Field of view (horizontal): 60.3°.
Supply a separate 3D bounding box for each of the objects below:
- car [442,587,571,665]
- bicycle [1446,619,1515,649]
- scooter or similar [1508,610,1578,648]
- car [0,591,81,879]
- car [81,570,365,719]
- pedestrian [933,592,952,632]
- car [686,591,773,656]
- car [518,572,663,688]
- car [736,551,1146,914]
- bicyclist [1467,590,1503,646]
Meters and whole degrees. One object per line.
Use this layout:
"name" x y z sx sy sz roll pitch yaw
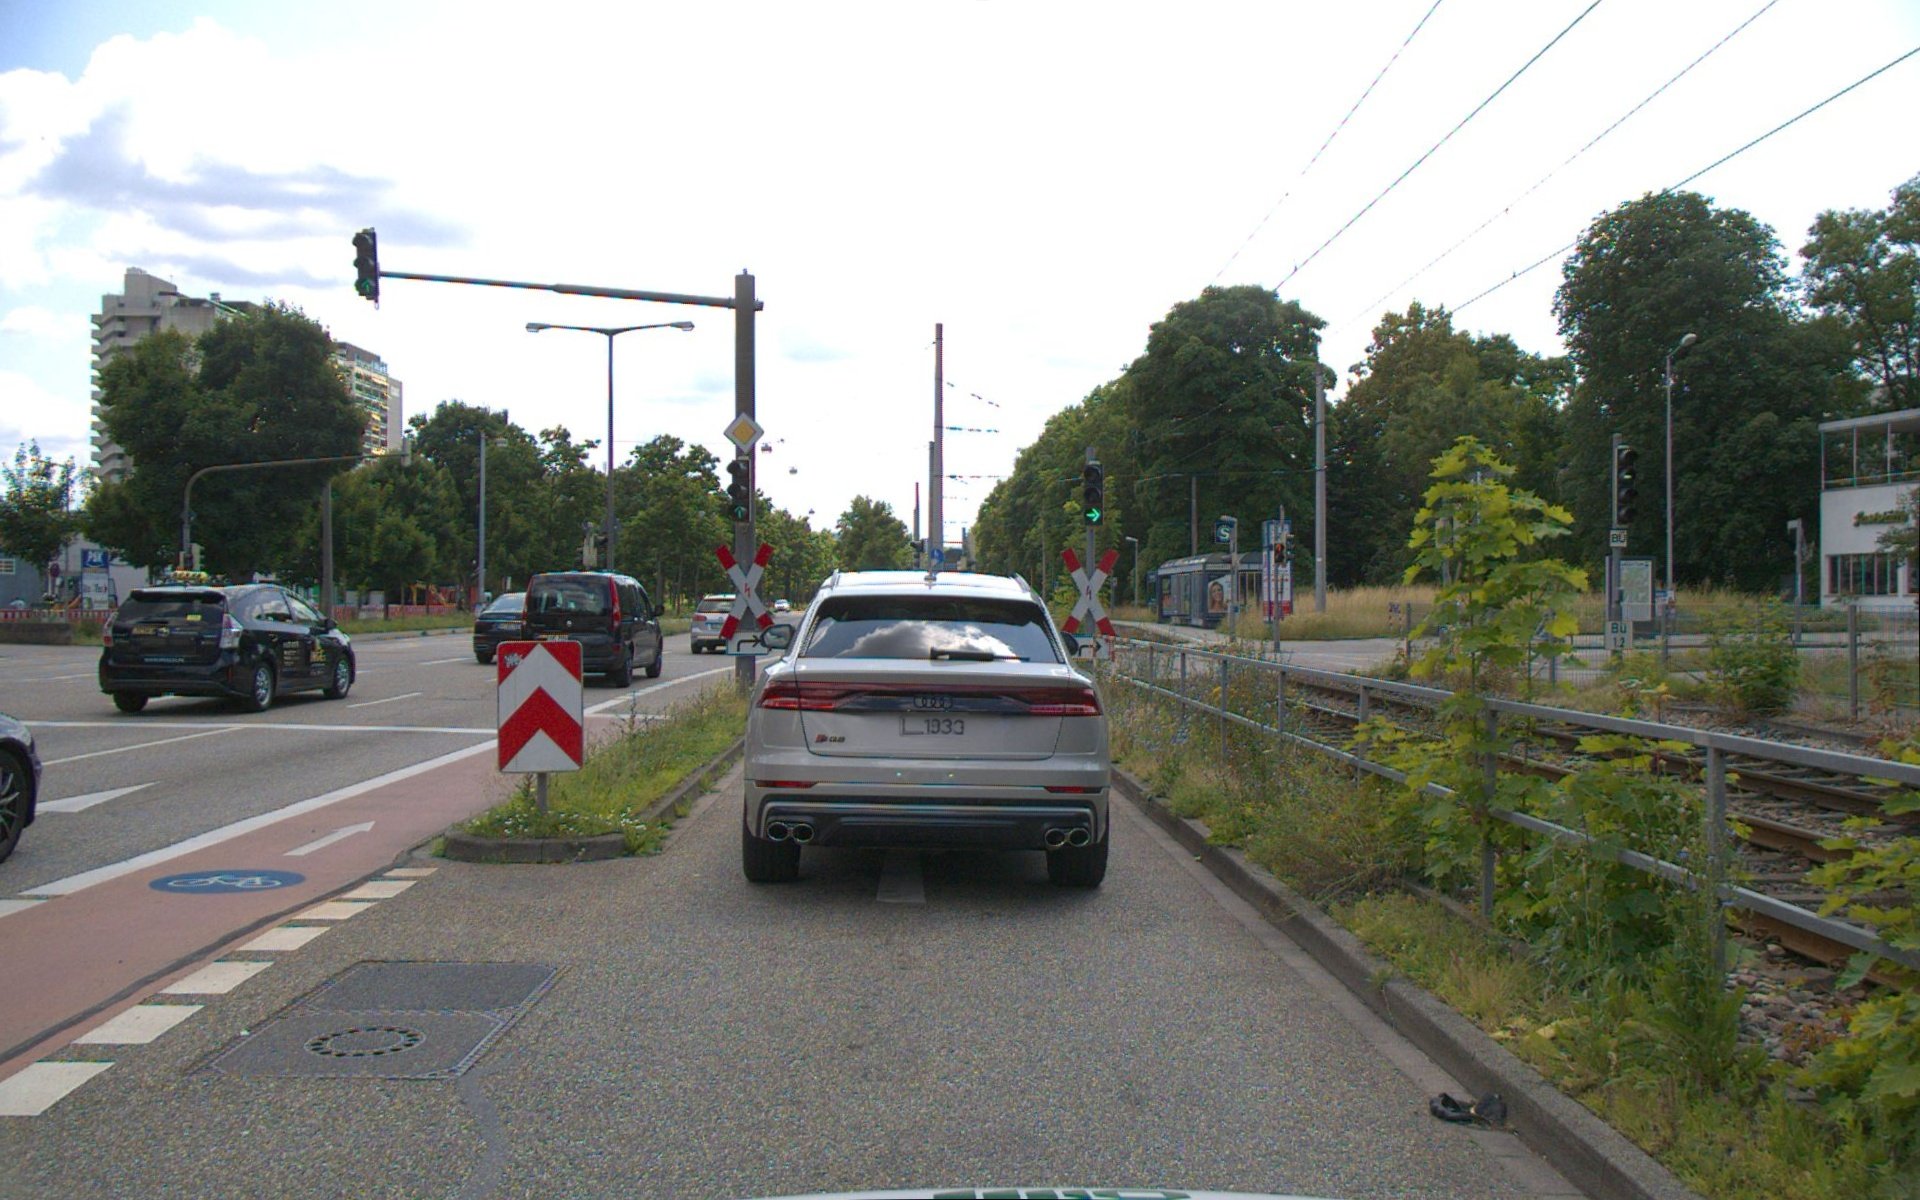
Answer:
"car" -9.544 0.525 35.131 1.827 1.531 3.997 1 0 -4
"bicycle" 14.067 0.909 44.707 1.686 0.778 0.555 1 -1 1
"scooter or similar" 15.722 0.781 44.634 1.542 0.997 0.962 -1 0 1
"car" -5.765 0.678 7.122 1.720 1.491 4.431 1 0 -3
"car" -9.311 0.525 21.319 1.749 1.697 4.339 1 0 -1
"pedestrian" -0.689 0.469 64.633 0.642 1.540 0.716 0 0 -10
"car" -5.854 0.591 42.394 1.750 1.552 4.299 1 0 -2
"car" -6.162 0.482 27.975 1.724 1.808 3.906 1 0 -3
"car" -0.120 0.651 10.233 1.941 1.713 4.573 1 0 -1
"bicyclist" 14.188 0.482 44.718 0.821 1.501 0.455 0 0 1
